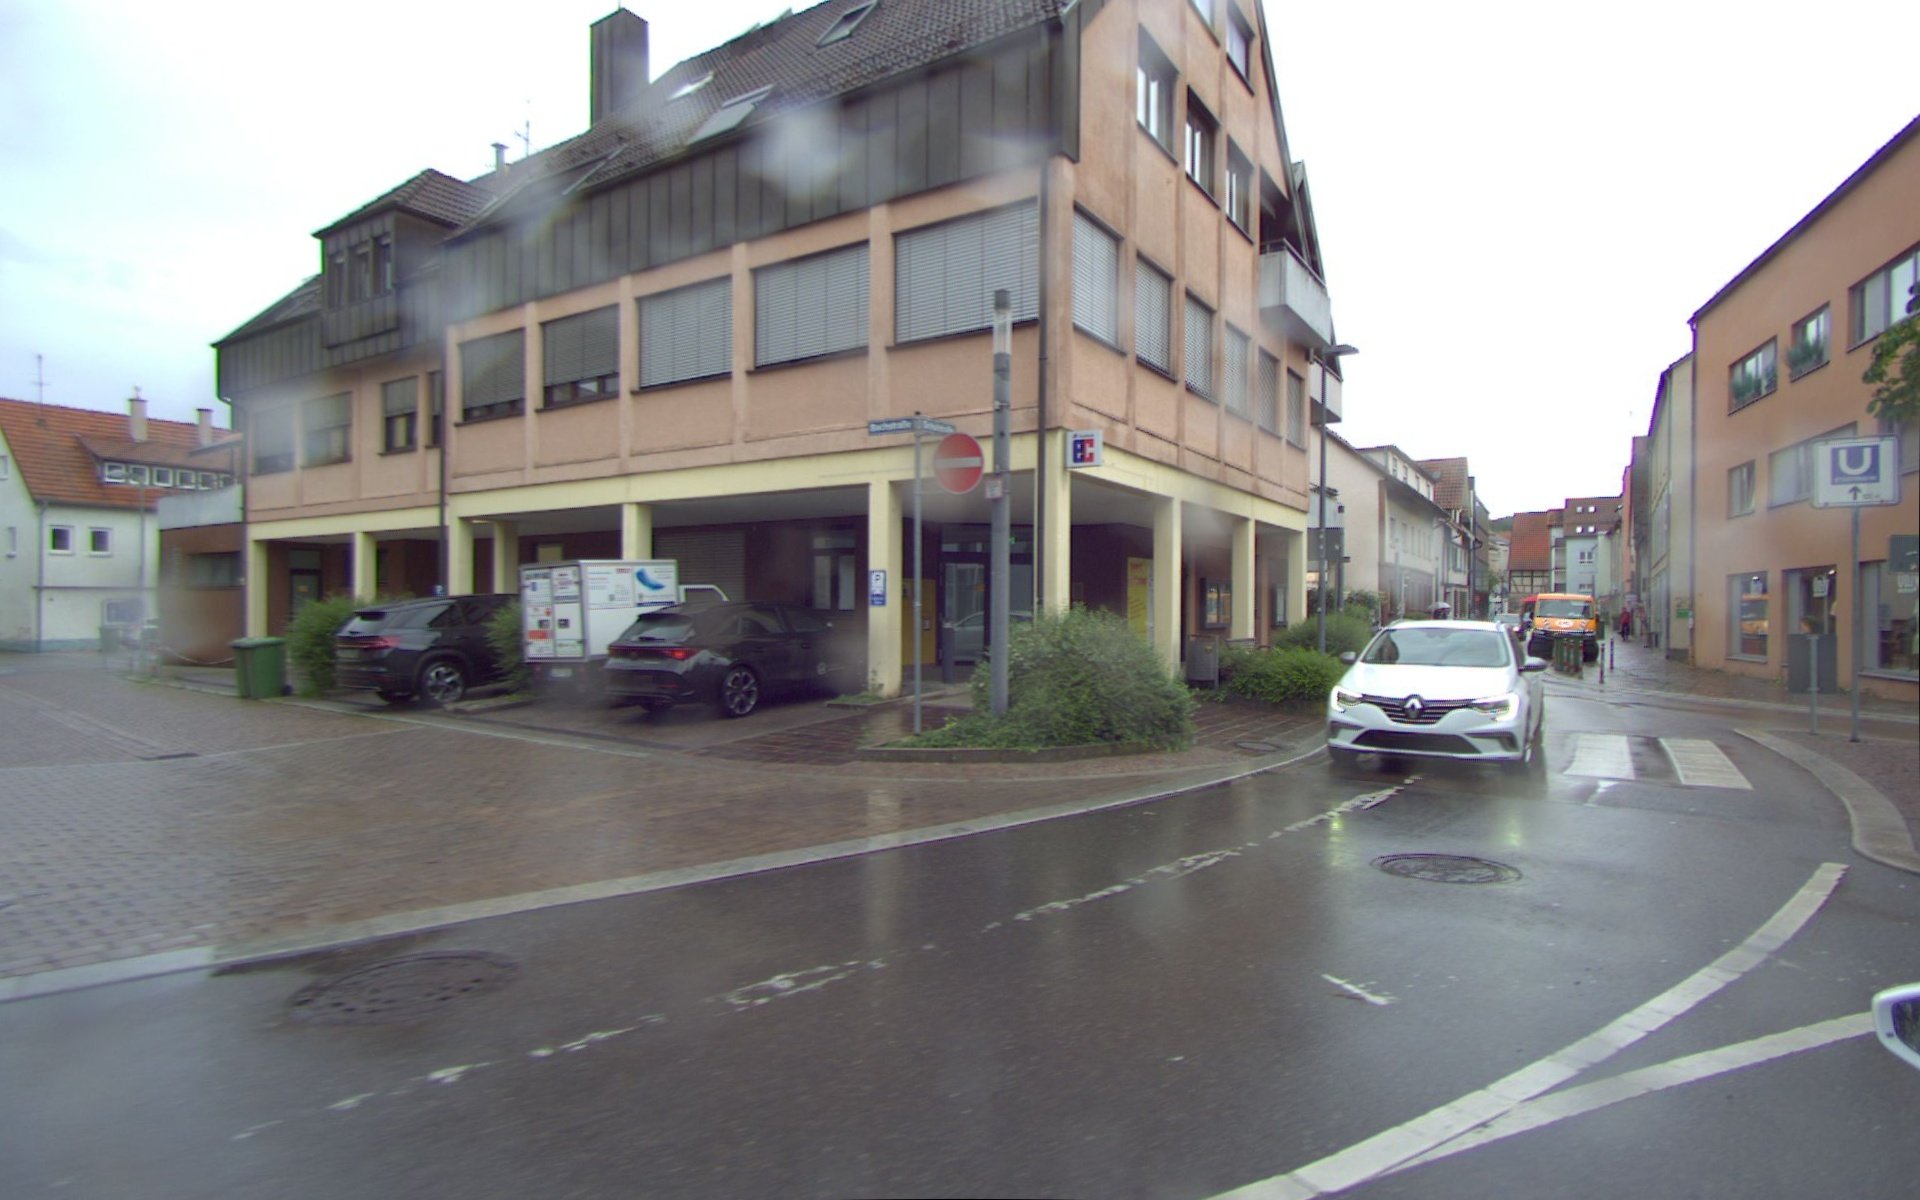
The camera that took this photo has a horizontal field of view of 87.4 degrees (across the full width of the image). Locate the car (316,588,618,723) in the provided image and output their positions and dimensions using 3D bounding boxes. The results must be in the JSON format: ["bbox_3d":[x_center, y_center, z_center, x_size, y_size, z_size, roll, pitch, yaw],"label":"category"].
[{"bbox_3d":[-7.948,0.783,16.509,1.790,1.640,3.981,0,5,39],"label":"car"}]

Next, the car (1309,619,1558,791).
[{"bbox_3d":[5.276,0.944,10.870,1.965,1.460,4.154,0,-1,32],"label":"car"}]

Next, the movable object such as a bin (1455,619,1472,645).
[{"bbox_3d":[27.449,1.745,54.764,0.821,1.400,0.853,0,-1,28],"label":"movable object such as a bin"}]

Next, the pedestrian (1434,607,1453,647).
[{"bbox_3d":[25.030,1.382,51.983,0.821,2.040,0.853,0,-1,28],"label":"pedestrian"}]

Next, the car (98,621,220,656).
[{"bbox_3d":[-33.416,1.587,41.954,1.778,1.394,3.765,-1,-1,42],"label":"car"}]

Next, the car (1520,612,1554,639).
[{"bbox_3d":[46.901,2.089,81.590,1.967,2.040,3.987,-2,-3,35],"label":"car"}]

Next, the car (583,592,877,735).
[{"bbox_3d":[-2.992,0.732,13.780,1.557,1.499,3.808,0,3,36],"label":"car"}]

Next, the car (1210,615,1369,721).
[{"bbox_3d":[5.509,1.011,16.485,1.689,1.477,3.902,1,0,30],"label":"car"}]

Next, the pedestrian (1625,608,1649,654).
[{"bbox_3d":[30.354,1.377,45.036,0.854,2.040,0.706,0,-1,30],"label":"pedestrian"}]

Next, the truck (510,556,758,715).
[{"bbox_3d":[-4.853,0.454,15.271,1.576,2.091,3.181,-2,2,35],"label":"truck"}]

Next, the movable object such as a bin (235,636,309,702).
[{"bbox_3d":[-12.742,1.270,18.603,0.989,1.111,0.918,-3,1,44],"label":"movable object such as a bin"}]

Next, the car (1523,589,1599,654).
[{"bbox_3d":[21.892,0.835,36.754,2.072,2.174,4.861,-2,-3,28],"label":"car"}]

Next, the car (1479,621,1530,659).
[{"bbox_3d":[30.369,2.221,55.922,1.967,2.040,4.349,-2,-3,35],"label":"car"}]
